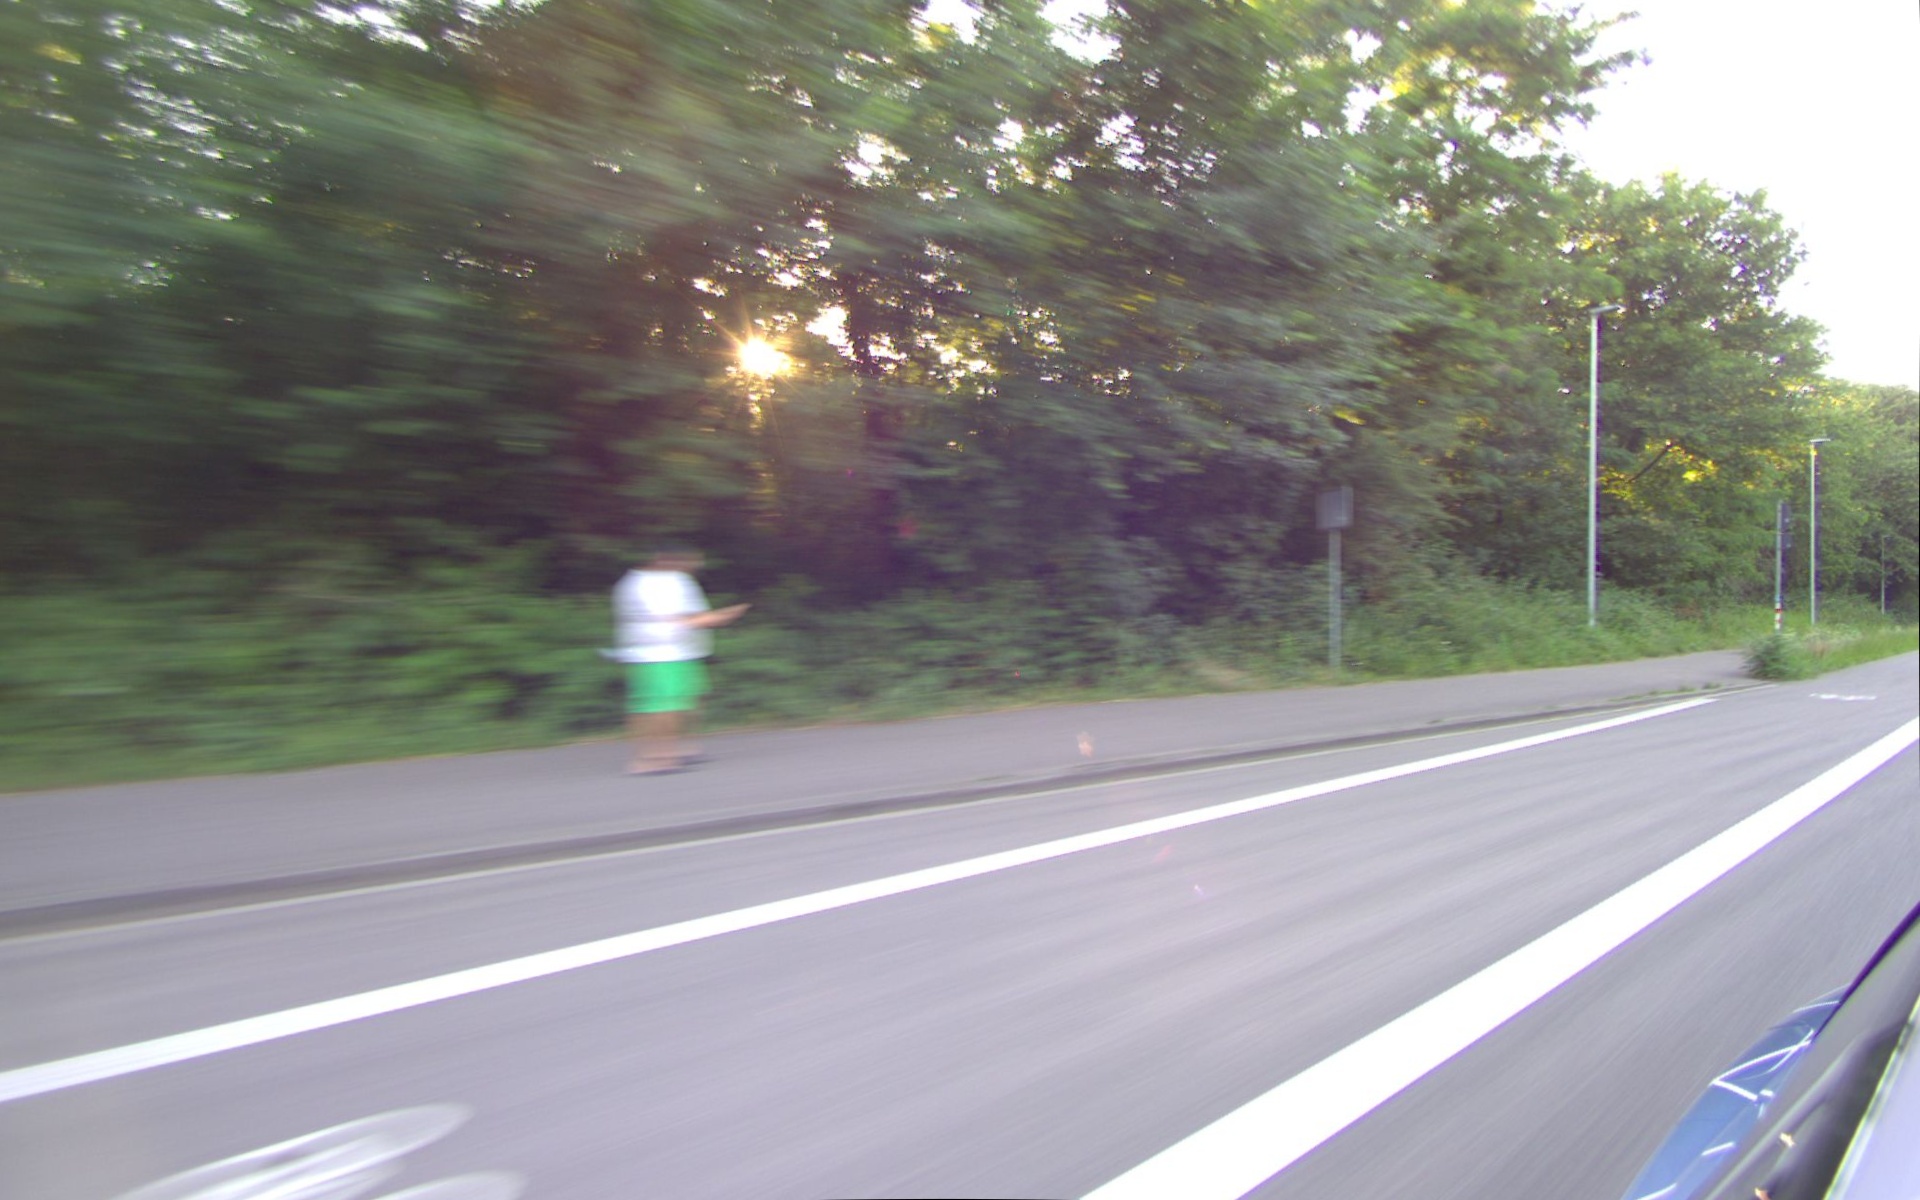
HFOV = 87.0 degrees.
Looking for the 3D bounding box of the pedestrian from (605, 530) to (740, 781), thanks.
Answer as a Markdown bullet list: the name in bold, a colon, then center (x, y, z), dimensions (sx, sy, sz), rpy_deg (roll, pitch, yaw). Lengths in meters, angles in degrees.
- **pedestrian**: center (-2.201, 0.385, 7.727), dimensions (0.713, 1.773, 0.840), rpy_deg (0, 0, -39)
